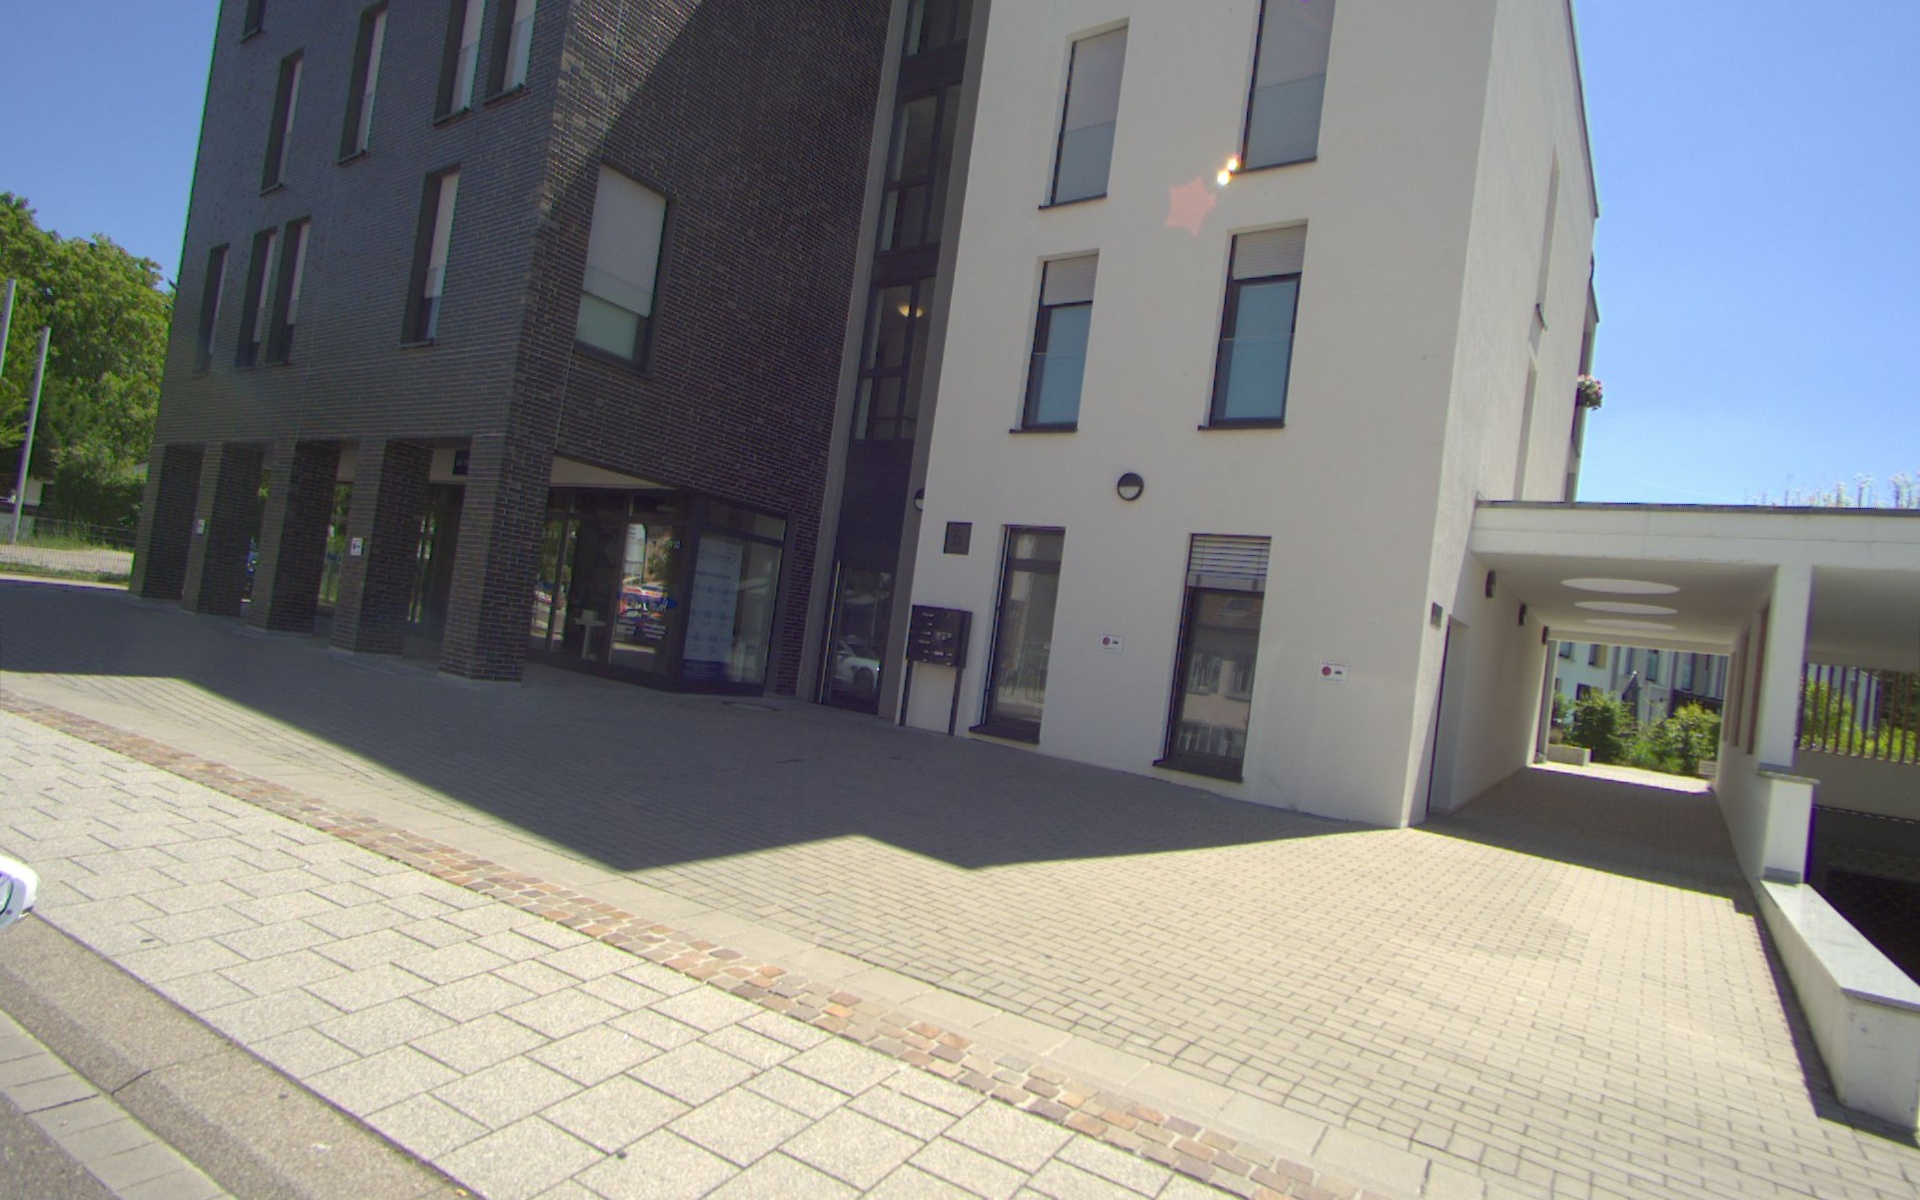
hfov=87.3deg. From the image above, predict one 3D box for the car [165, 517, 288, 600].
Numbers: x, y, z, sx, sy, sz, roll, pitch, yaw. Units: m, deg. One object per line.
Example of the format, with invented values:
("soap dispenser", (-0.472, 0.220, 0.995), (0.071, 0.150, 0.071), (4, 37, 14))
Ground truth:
("car", (-17.016, -0.996, 23.258), (1.806, 1.457, 4.125), (10, -2, -41))
